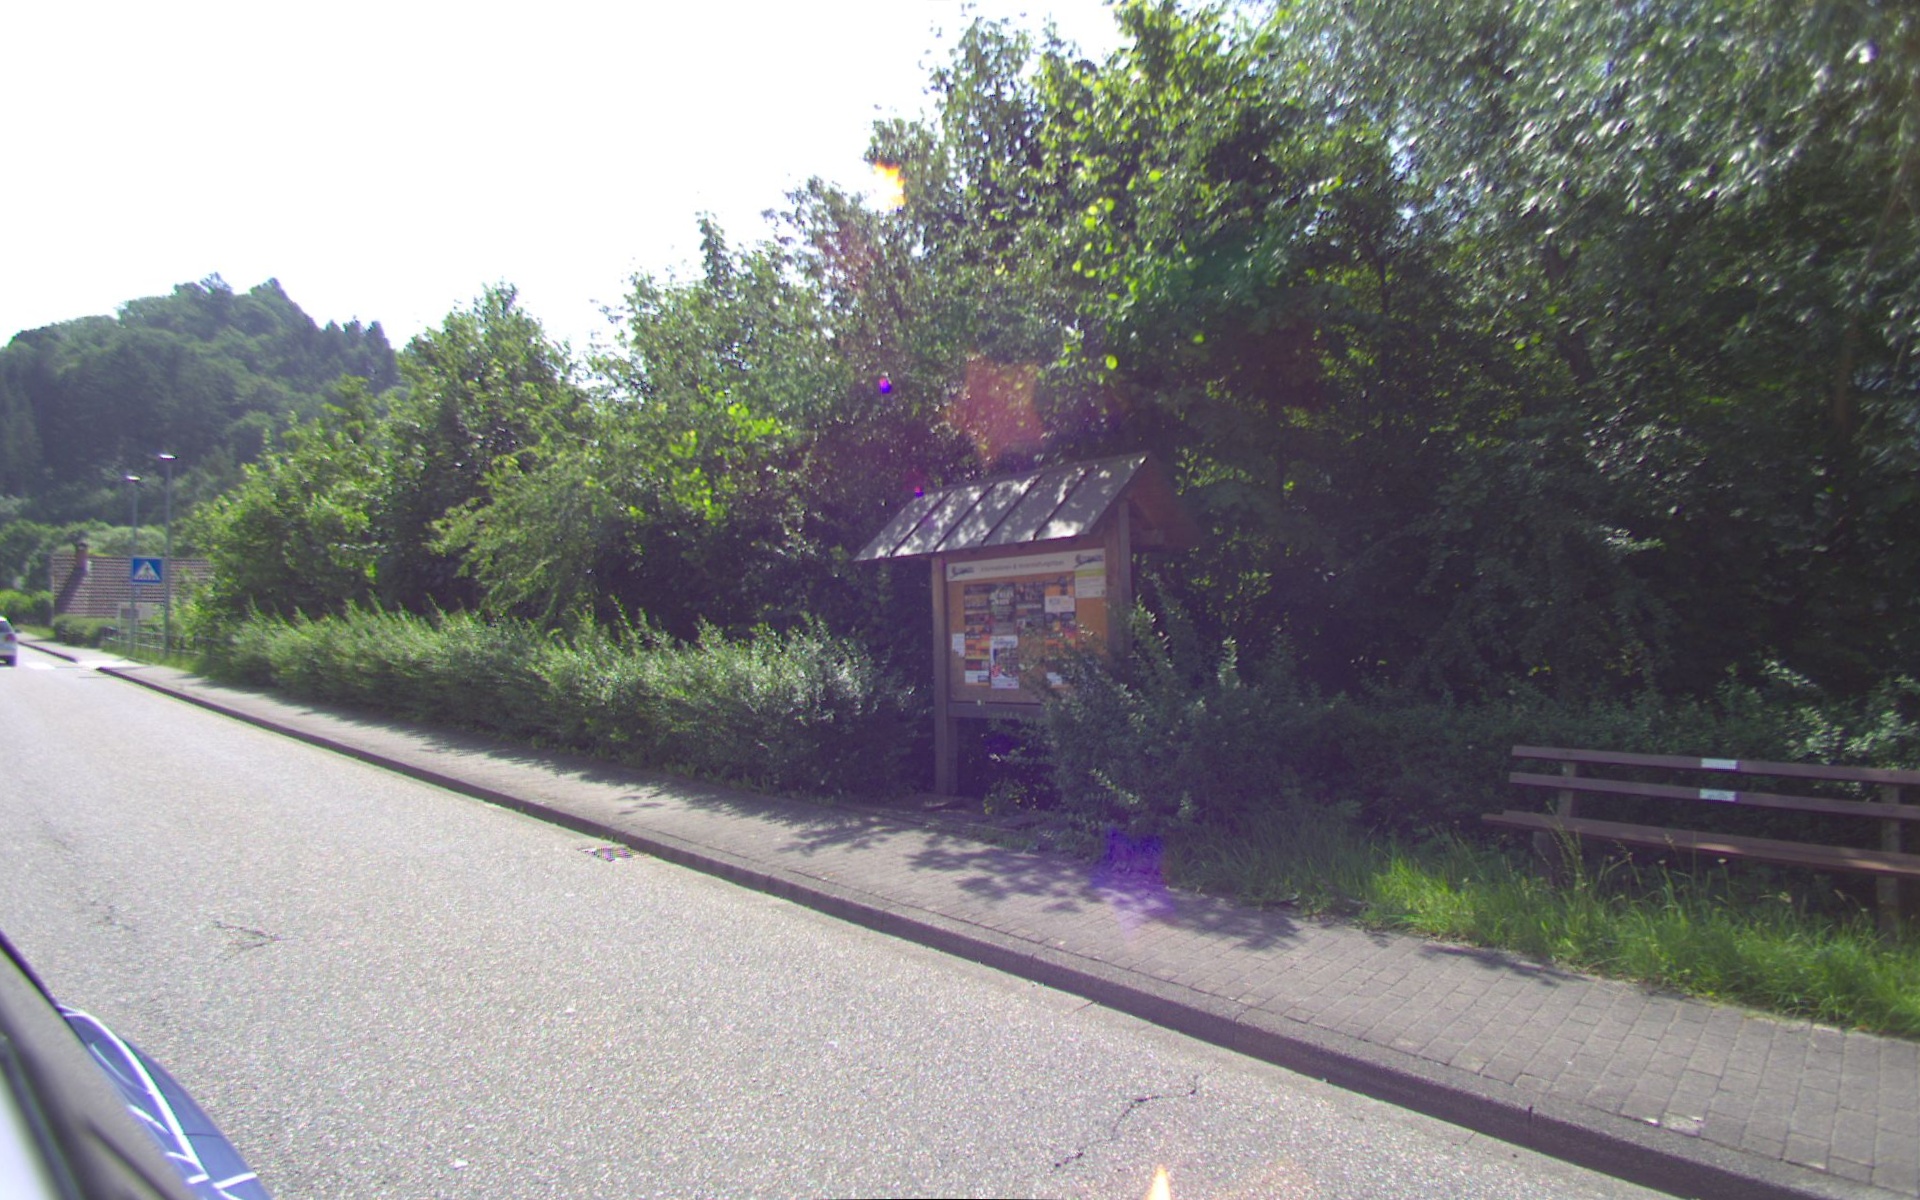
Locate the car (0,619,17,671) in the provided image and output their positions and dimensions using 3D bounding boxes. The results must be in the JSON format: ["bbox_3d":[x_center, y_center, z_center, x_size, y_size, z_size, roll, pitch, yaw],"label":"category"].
[{"bbox_3d":[-29.371,1.303,30.273,1.572,1.494,3.759,3,-3,-44],"label":"car"}]
